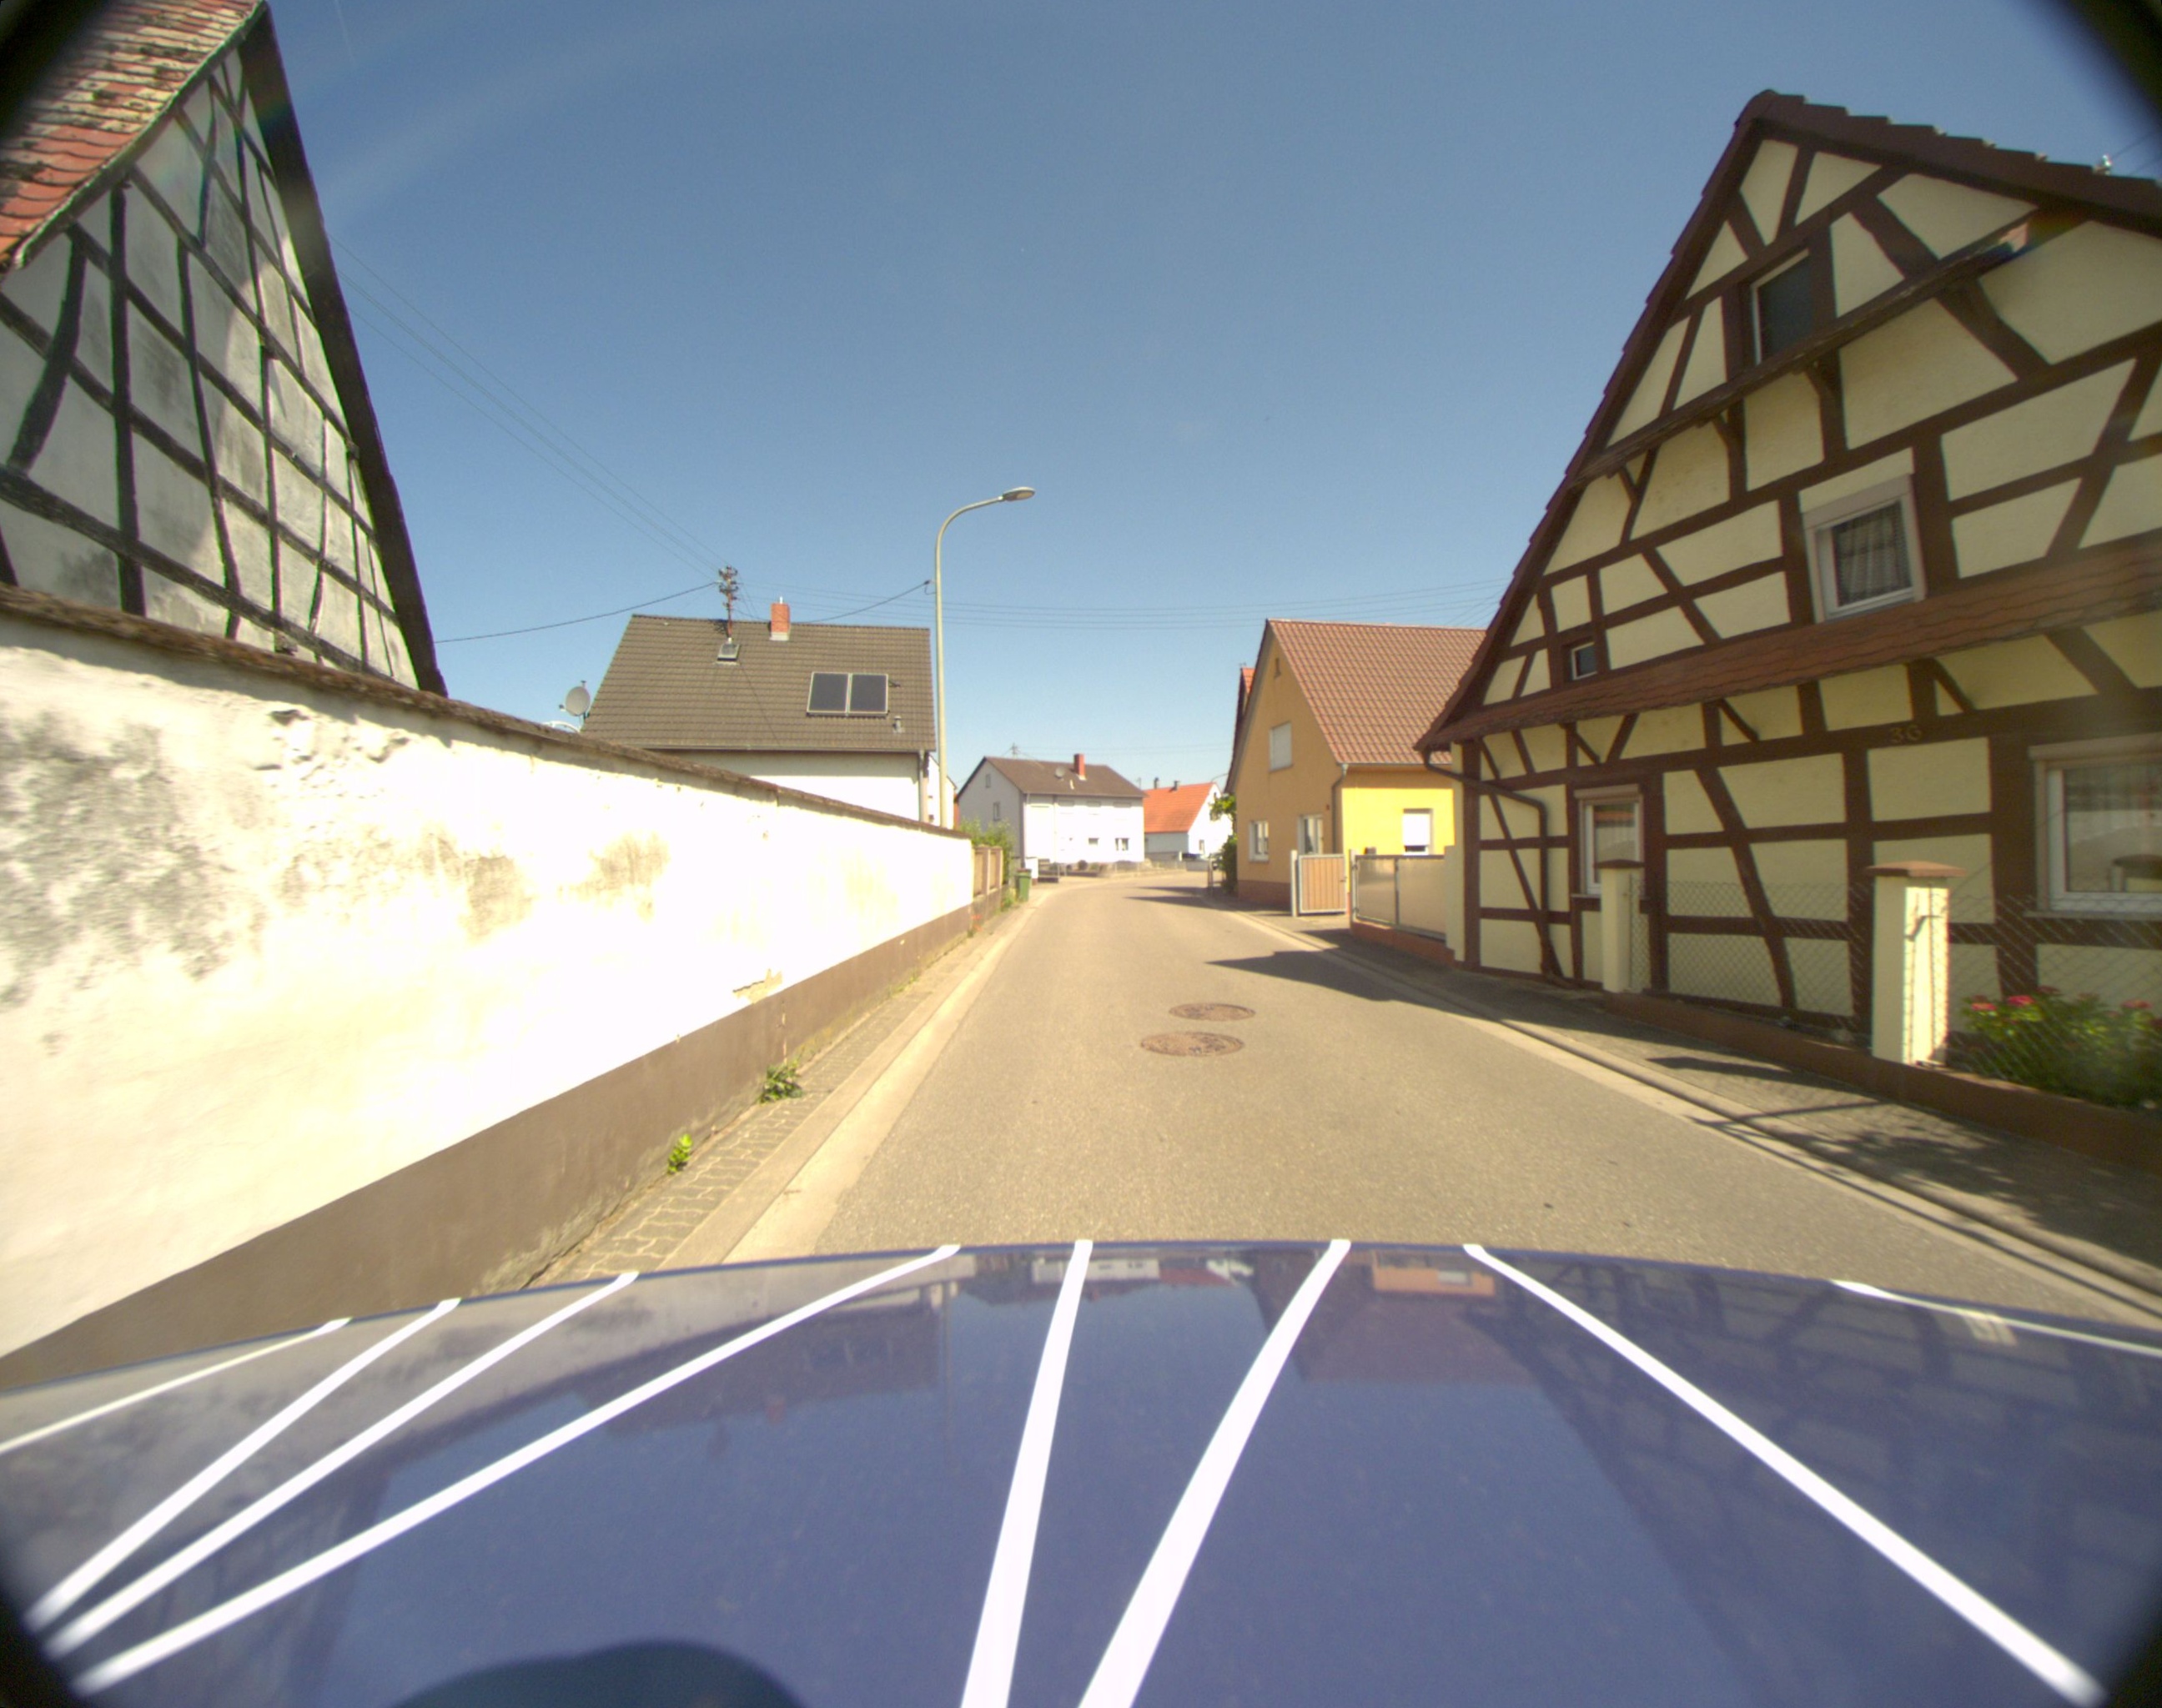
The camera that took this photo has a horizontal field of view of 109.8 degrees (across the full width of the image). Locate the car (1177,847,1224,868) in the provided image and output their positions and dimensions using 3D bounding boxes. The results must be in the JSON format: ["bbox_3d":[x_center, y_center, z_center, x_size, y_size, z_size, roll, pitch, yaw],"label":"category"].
[{"bbox_3d":[10.728,0.327,68.542,1.705,1.834,3.989,-2,1,-40],"label":"car"}]

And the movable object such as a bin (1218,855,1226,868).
[{"bbox_3d":[12.049,0.621,64.817,0.570,1.136,0.433,-1,1,0],"label":"movable object such as a bin"}]

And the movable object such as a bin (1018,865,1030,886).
[{"bbox_3d":[-2.665,0.995,35.460,0.505,0.971,0.433,-2,1,0],"label":"movable object such as a bin"}]

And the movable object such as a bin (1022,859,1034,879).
[{"bbox_3d":[-2.542,0.718,36.585,0.505,0.971,0.494,-2,1,0],"label":"movable object such as a bin"}]

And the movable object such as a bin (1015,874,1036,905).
[{"bbox_3d":[-1.830,1.170,25.002,0.552,0.971,0.432,-2,1,-25],"label":"movable object such as a bin"}]
